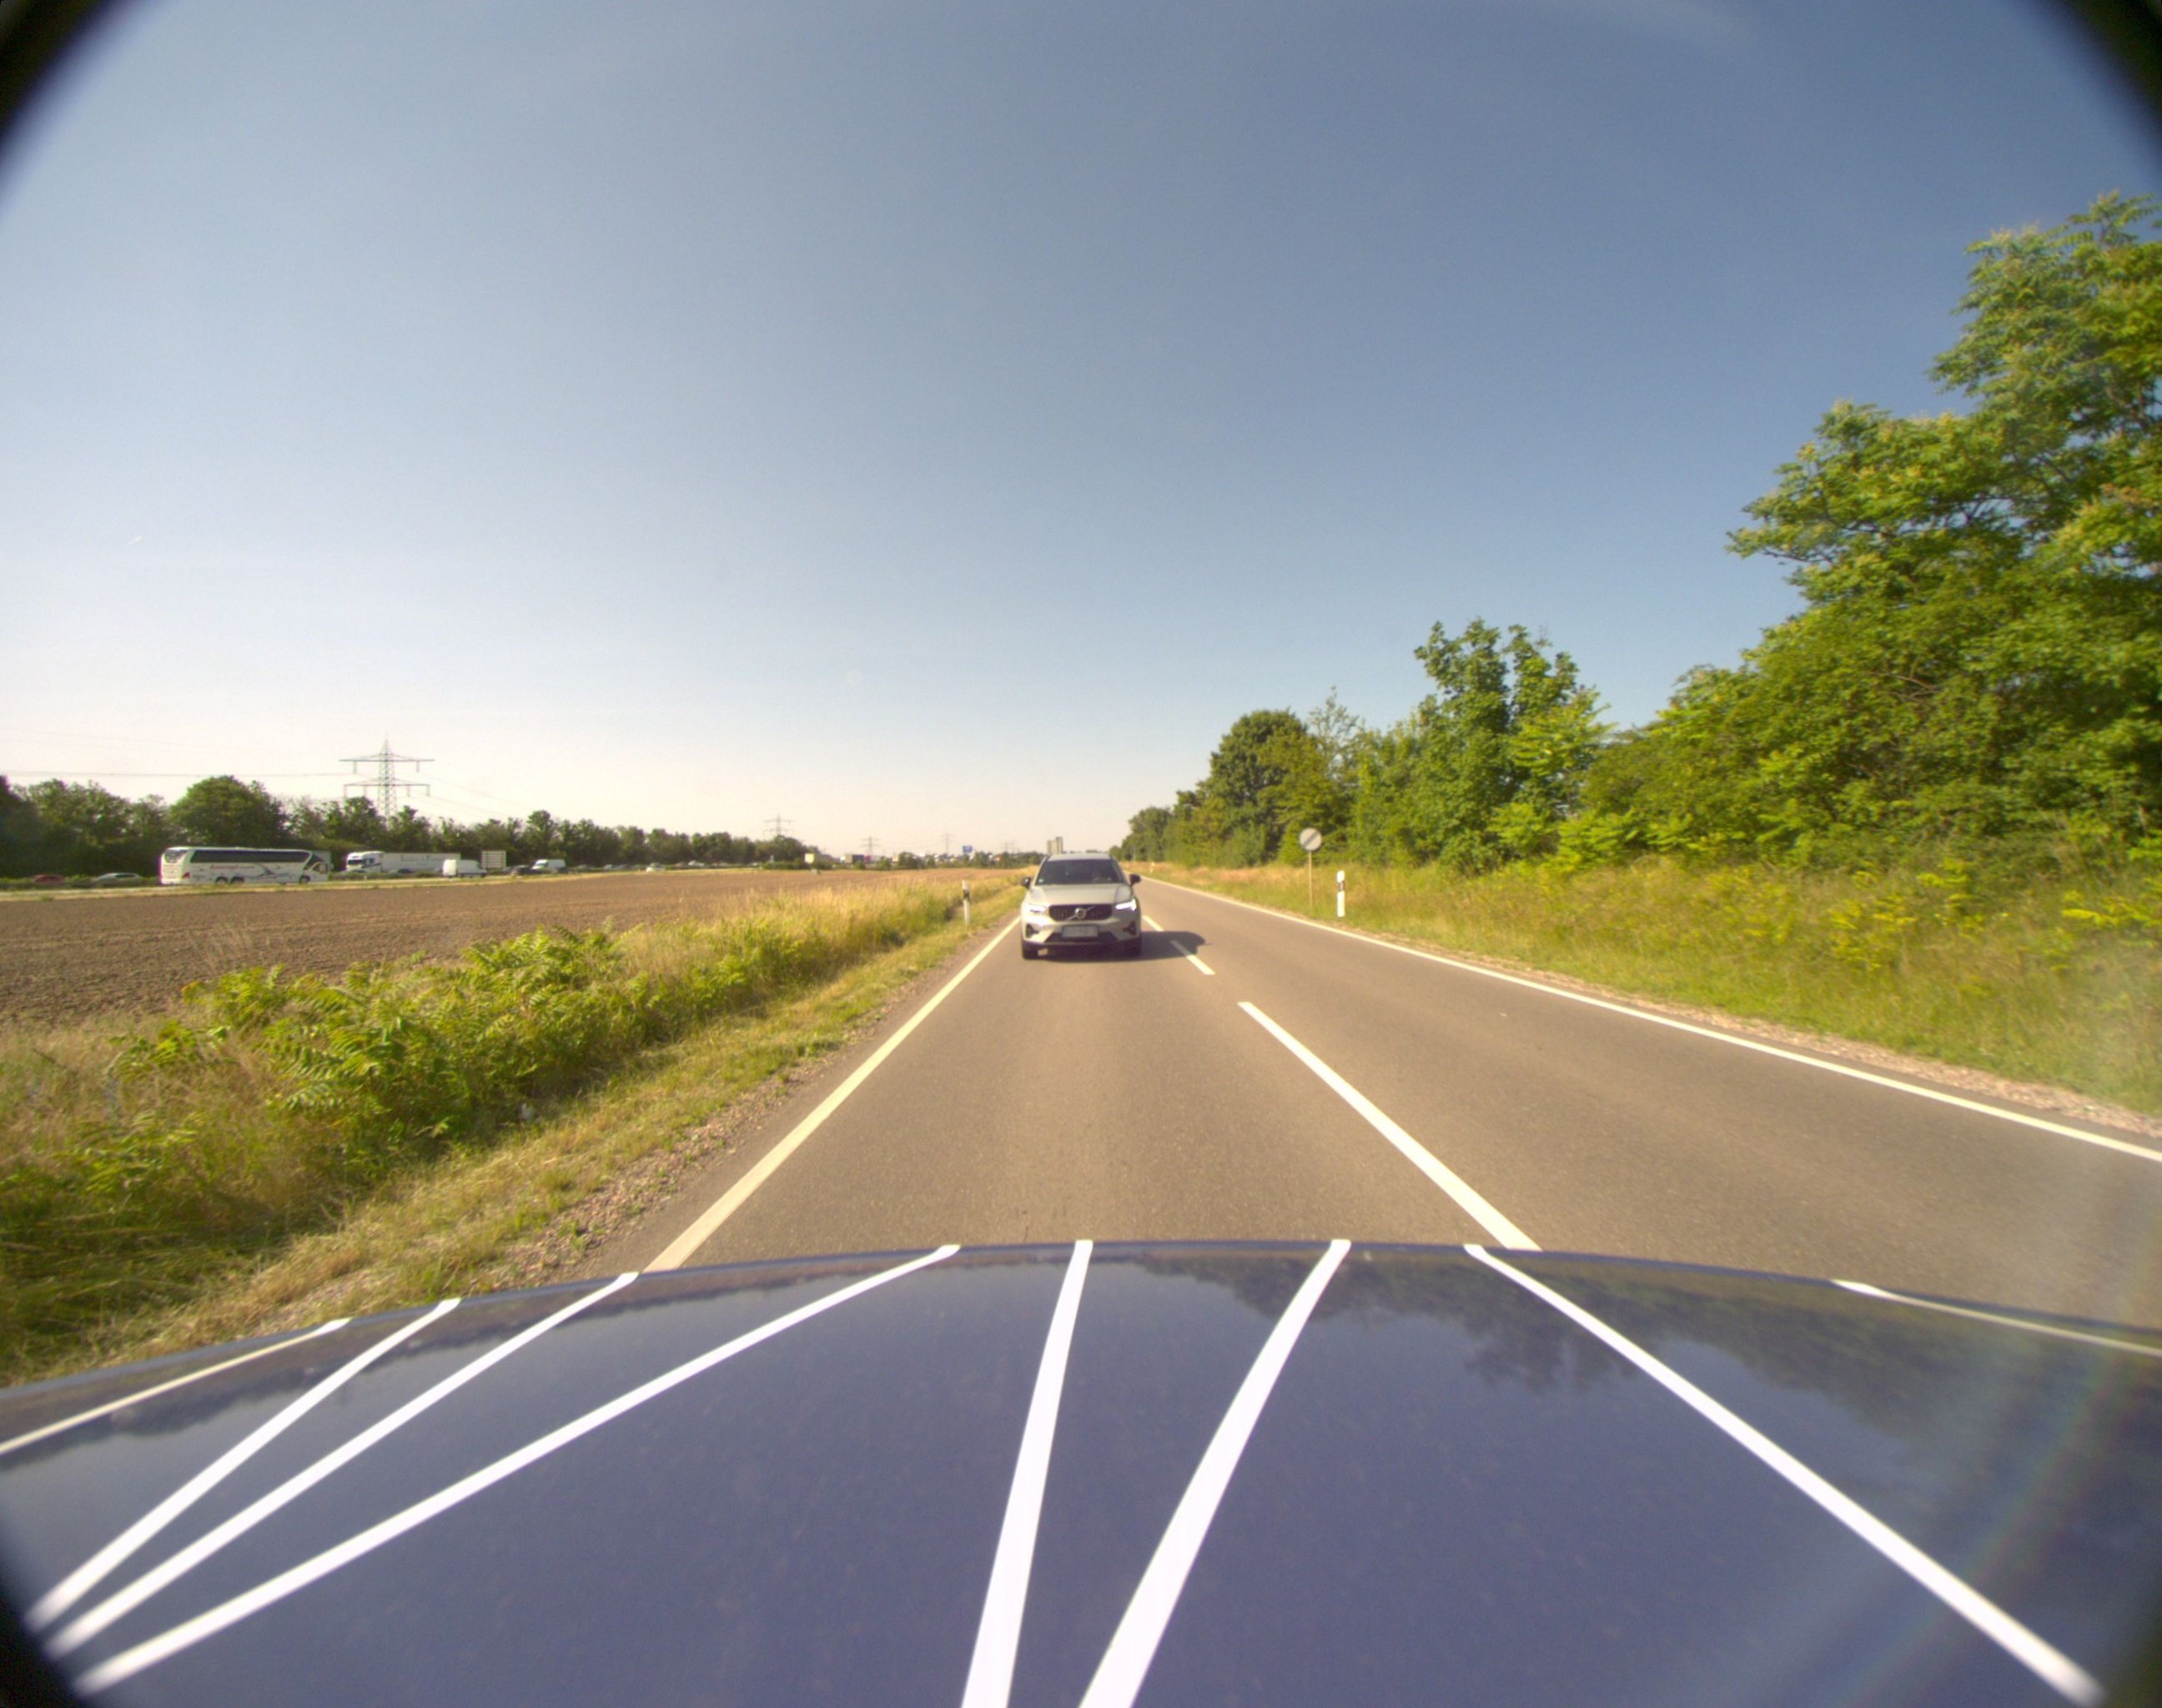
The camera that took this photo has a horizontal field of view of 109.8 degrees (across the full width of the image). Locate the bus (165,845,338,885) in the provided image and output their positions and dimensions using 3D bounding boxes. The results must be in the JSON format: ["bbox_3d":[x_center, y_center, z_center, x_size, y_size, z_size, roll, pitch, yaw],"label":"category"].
[{"bbox_3d":[-86.315,1.084,79.828,2.469,3.781,14.547,-1,0,-1],"label":"bus"}]

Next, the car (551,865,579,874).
[{"bbox_3d":[-87.154,2.579,128.357,1.707,1.365,4.094,-2,0,1],"label":"car"}]

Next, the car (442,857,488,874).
[{"bbox_3d":[-87.369,1.605,107.839,1.998,2.358,5.521,-2,0,0],"label":"car"}]

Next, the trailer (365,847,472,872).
[{"bbox_3d":[-101.172,0.837,116.627,3.210,3.510,15.082,0,0,0],"label":"trailer"}]

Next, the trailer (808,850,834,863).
[{"bbox_3d":[-80.529,0.648,235.630,3.111,3.826,13.719,-1,0,1],"label":"trailer"}]

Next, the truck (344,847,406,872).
[{"bbox_3d":[-101.165,0.821,108.993,3.210,3.510,6.108,0,0,0],"label":"truck"}]

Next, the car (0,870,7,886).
[{"bbox_3d":[-96.012,2.100,65.150,1.855,1.377,4.248,-2,-1,0],"label":"car"}]

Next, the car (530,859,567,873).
[{"bbox_3d":[-95.971,2.079,137.050,2.042,2.432,6.414,-2,0,1],"label":"car"}]

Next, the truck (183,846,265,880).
[{"bbox_3d":[-100.805,1.029,89.503,2.953,3.711,5.869,-1,0,0],"label":"truck"}]

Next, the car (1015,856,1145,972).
[{"bbox_3d":[0.020,0.881,13.070,1.840,1.627,4.136,-2,0,1],"label":"car"}]

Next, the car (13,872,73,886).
[{"bbox_3d":[-101.745,2.441,74.515,1.344,1.212,3.291,-2,0,-1],"label":"car"}]

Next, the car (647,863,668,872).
[{"bbox_3d":[-82.330,2.529,147.802,1.707,1.534,4.195,-2,1,0],"label":"car"}]

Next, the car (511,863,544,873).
[{"bbox_3d":[-82.690,2.072,113.486,1.707,1.464,4.210,-2,0,1],"label":"car"}]
